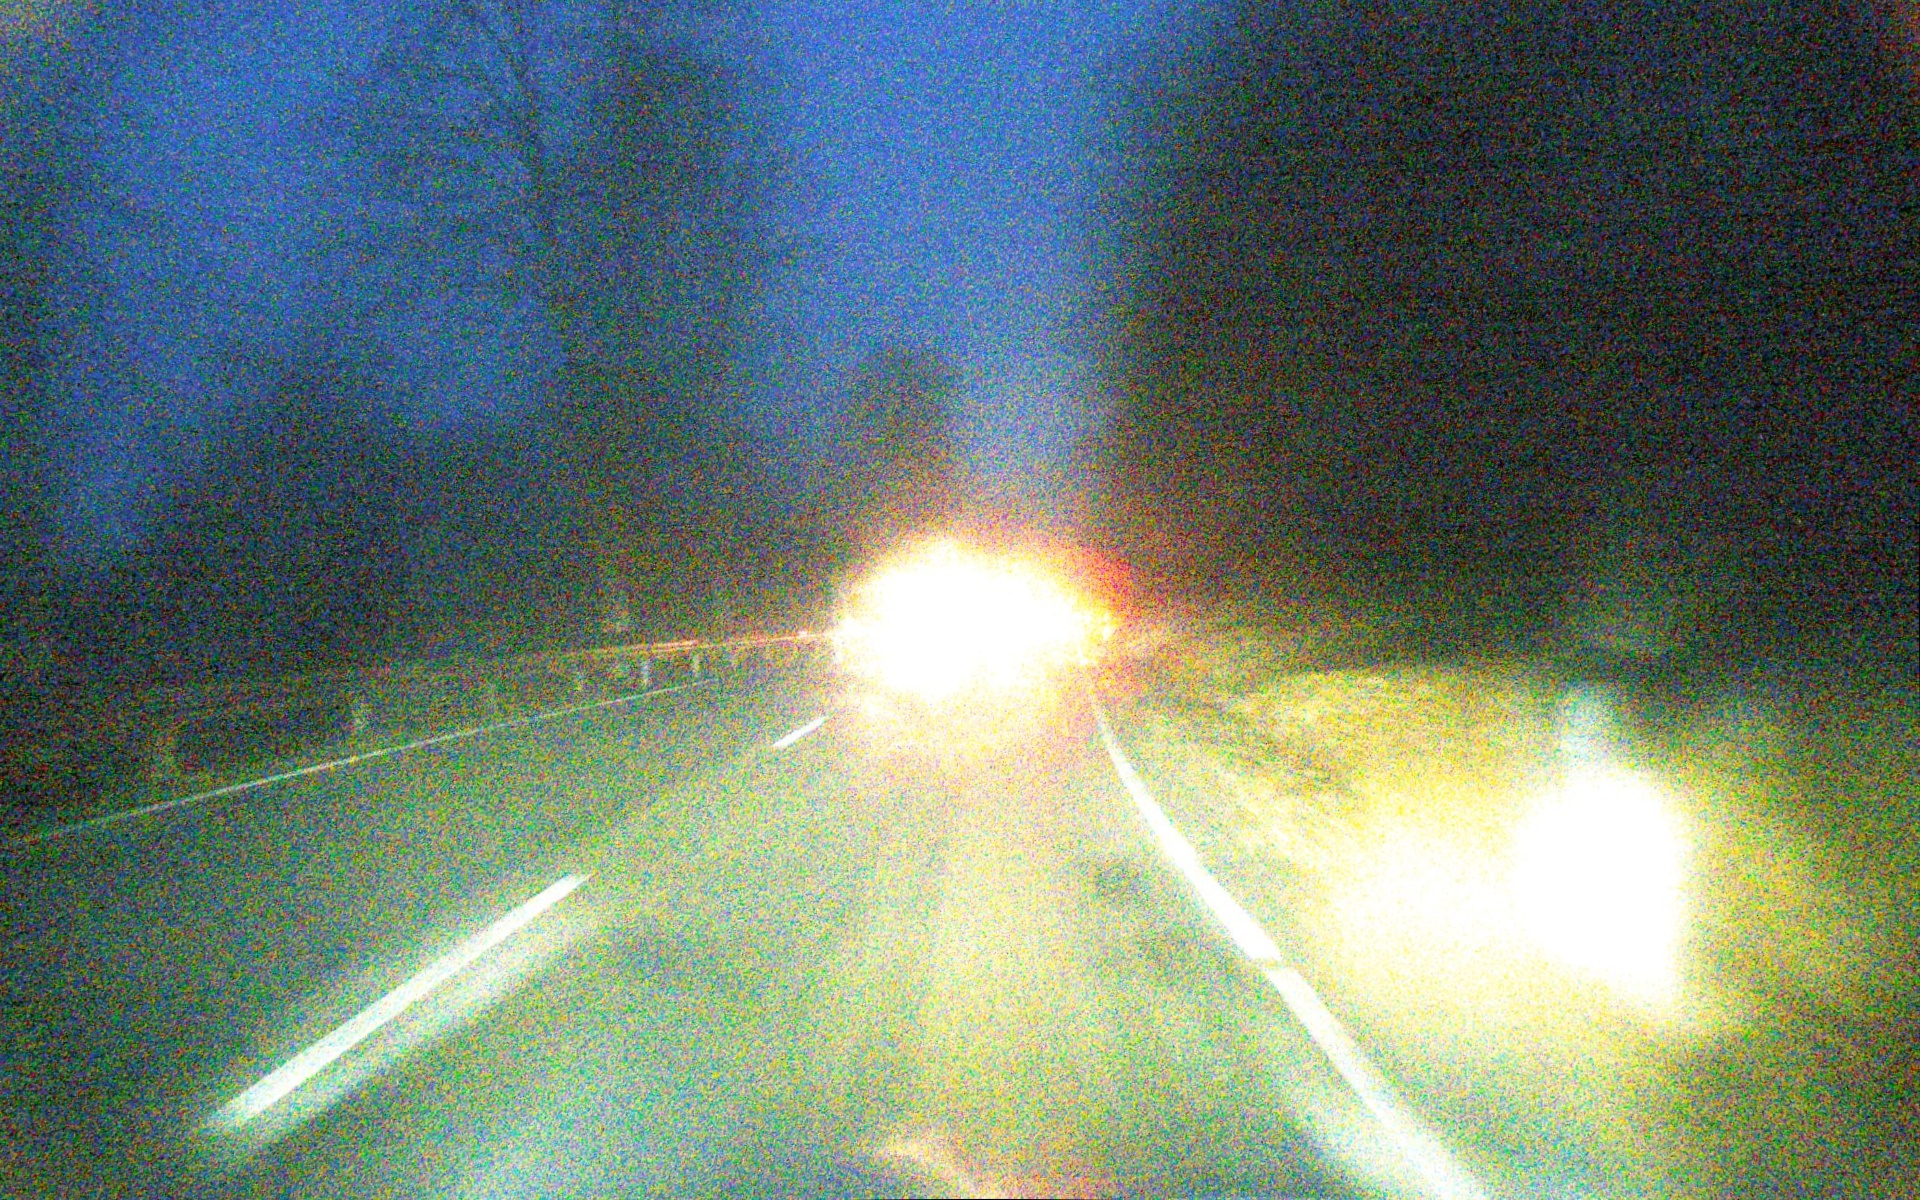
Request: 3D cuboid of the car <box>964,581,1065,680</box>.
[{"bbox_3d":[1.108,0.591,35.244,1.953,1.838,3.918,-3,1,0],"label":"car"}]
